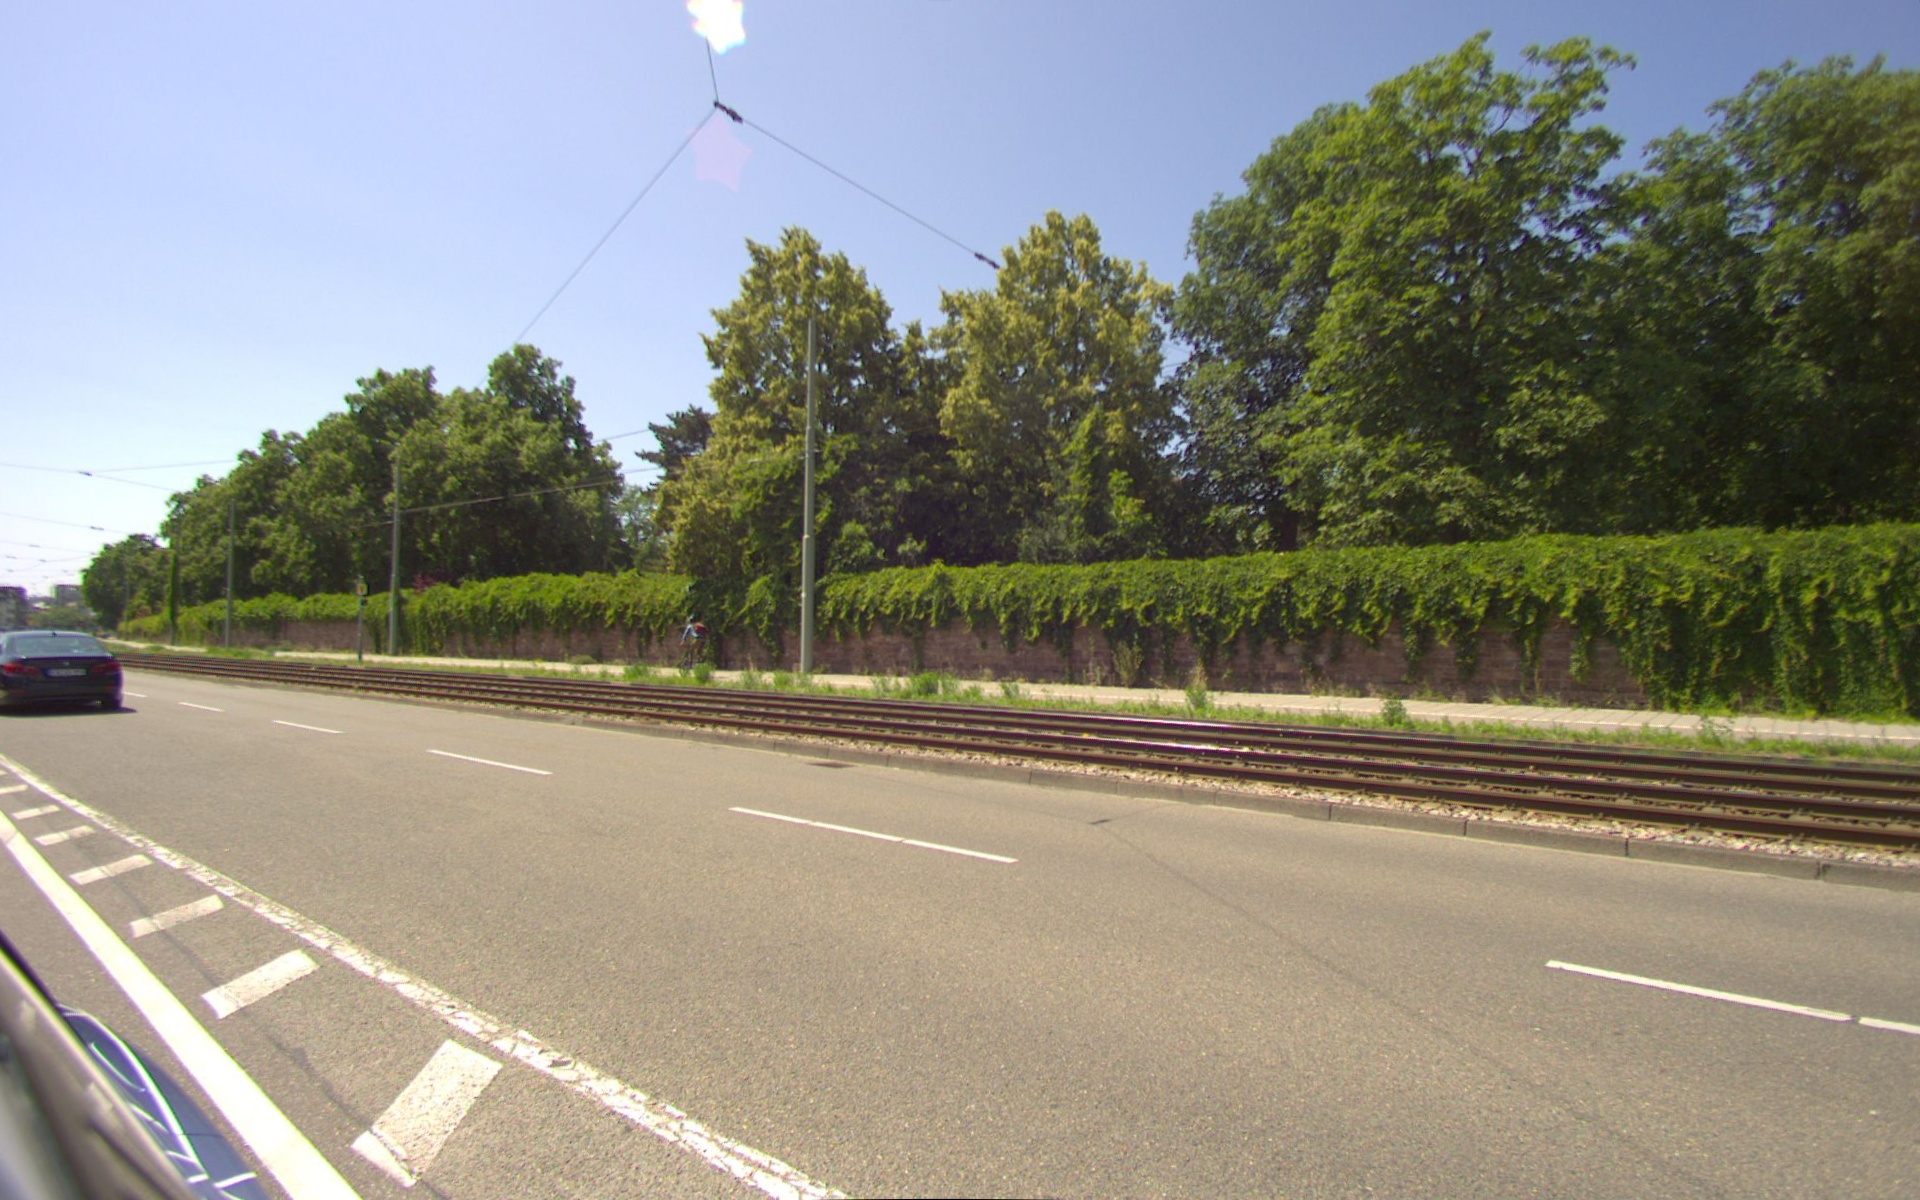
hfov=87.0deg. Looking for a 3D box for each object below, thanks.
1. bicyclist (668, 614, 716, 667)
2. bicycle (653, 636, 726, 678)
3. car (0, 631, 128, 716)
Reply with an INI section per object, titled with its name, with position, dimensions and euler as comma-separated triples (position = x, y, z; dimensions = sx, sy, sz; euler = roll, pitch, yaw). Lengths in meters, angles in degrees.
[bicyclist]
position = -7.797, 1.166, 29.466
dimensions = 1.000, 1.497, 0.983
euler = -2, -3, 44
[bicycle]
position = -7.925, 1.641, 29.566
dimensions = 2.686, 1.165, 0.819
euler = -2, -3, 45
[car]
position = -17.058, 1.285, 18.690
dimensions = 4.443, 1.410, 1.775
euler = -2, -3, 40
